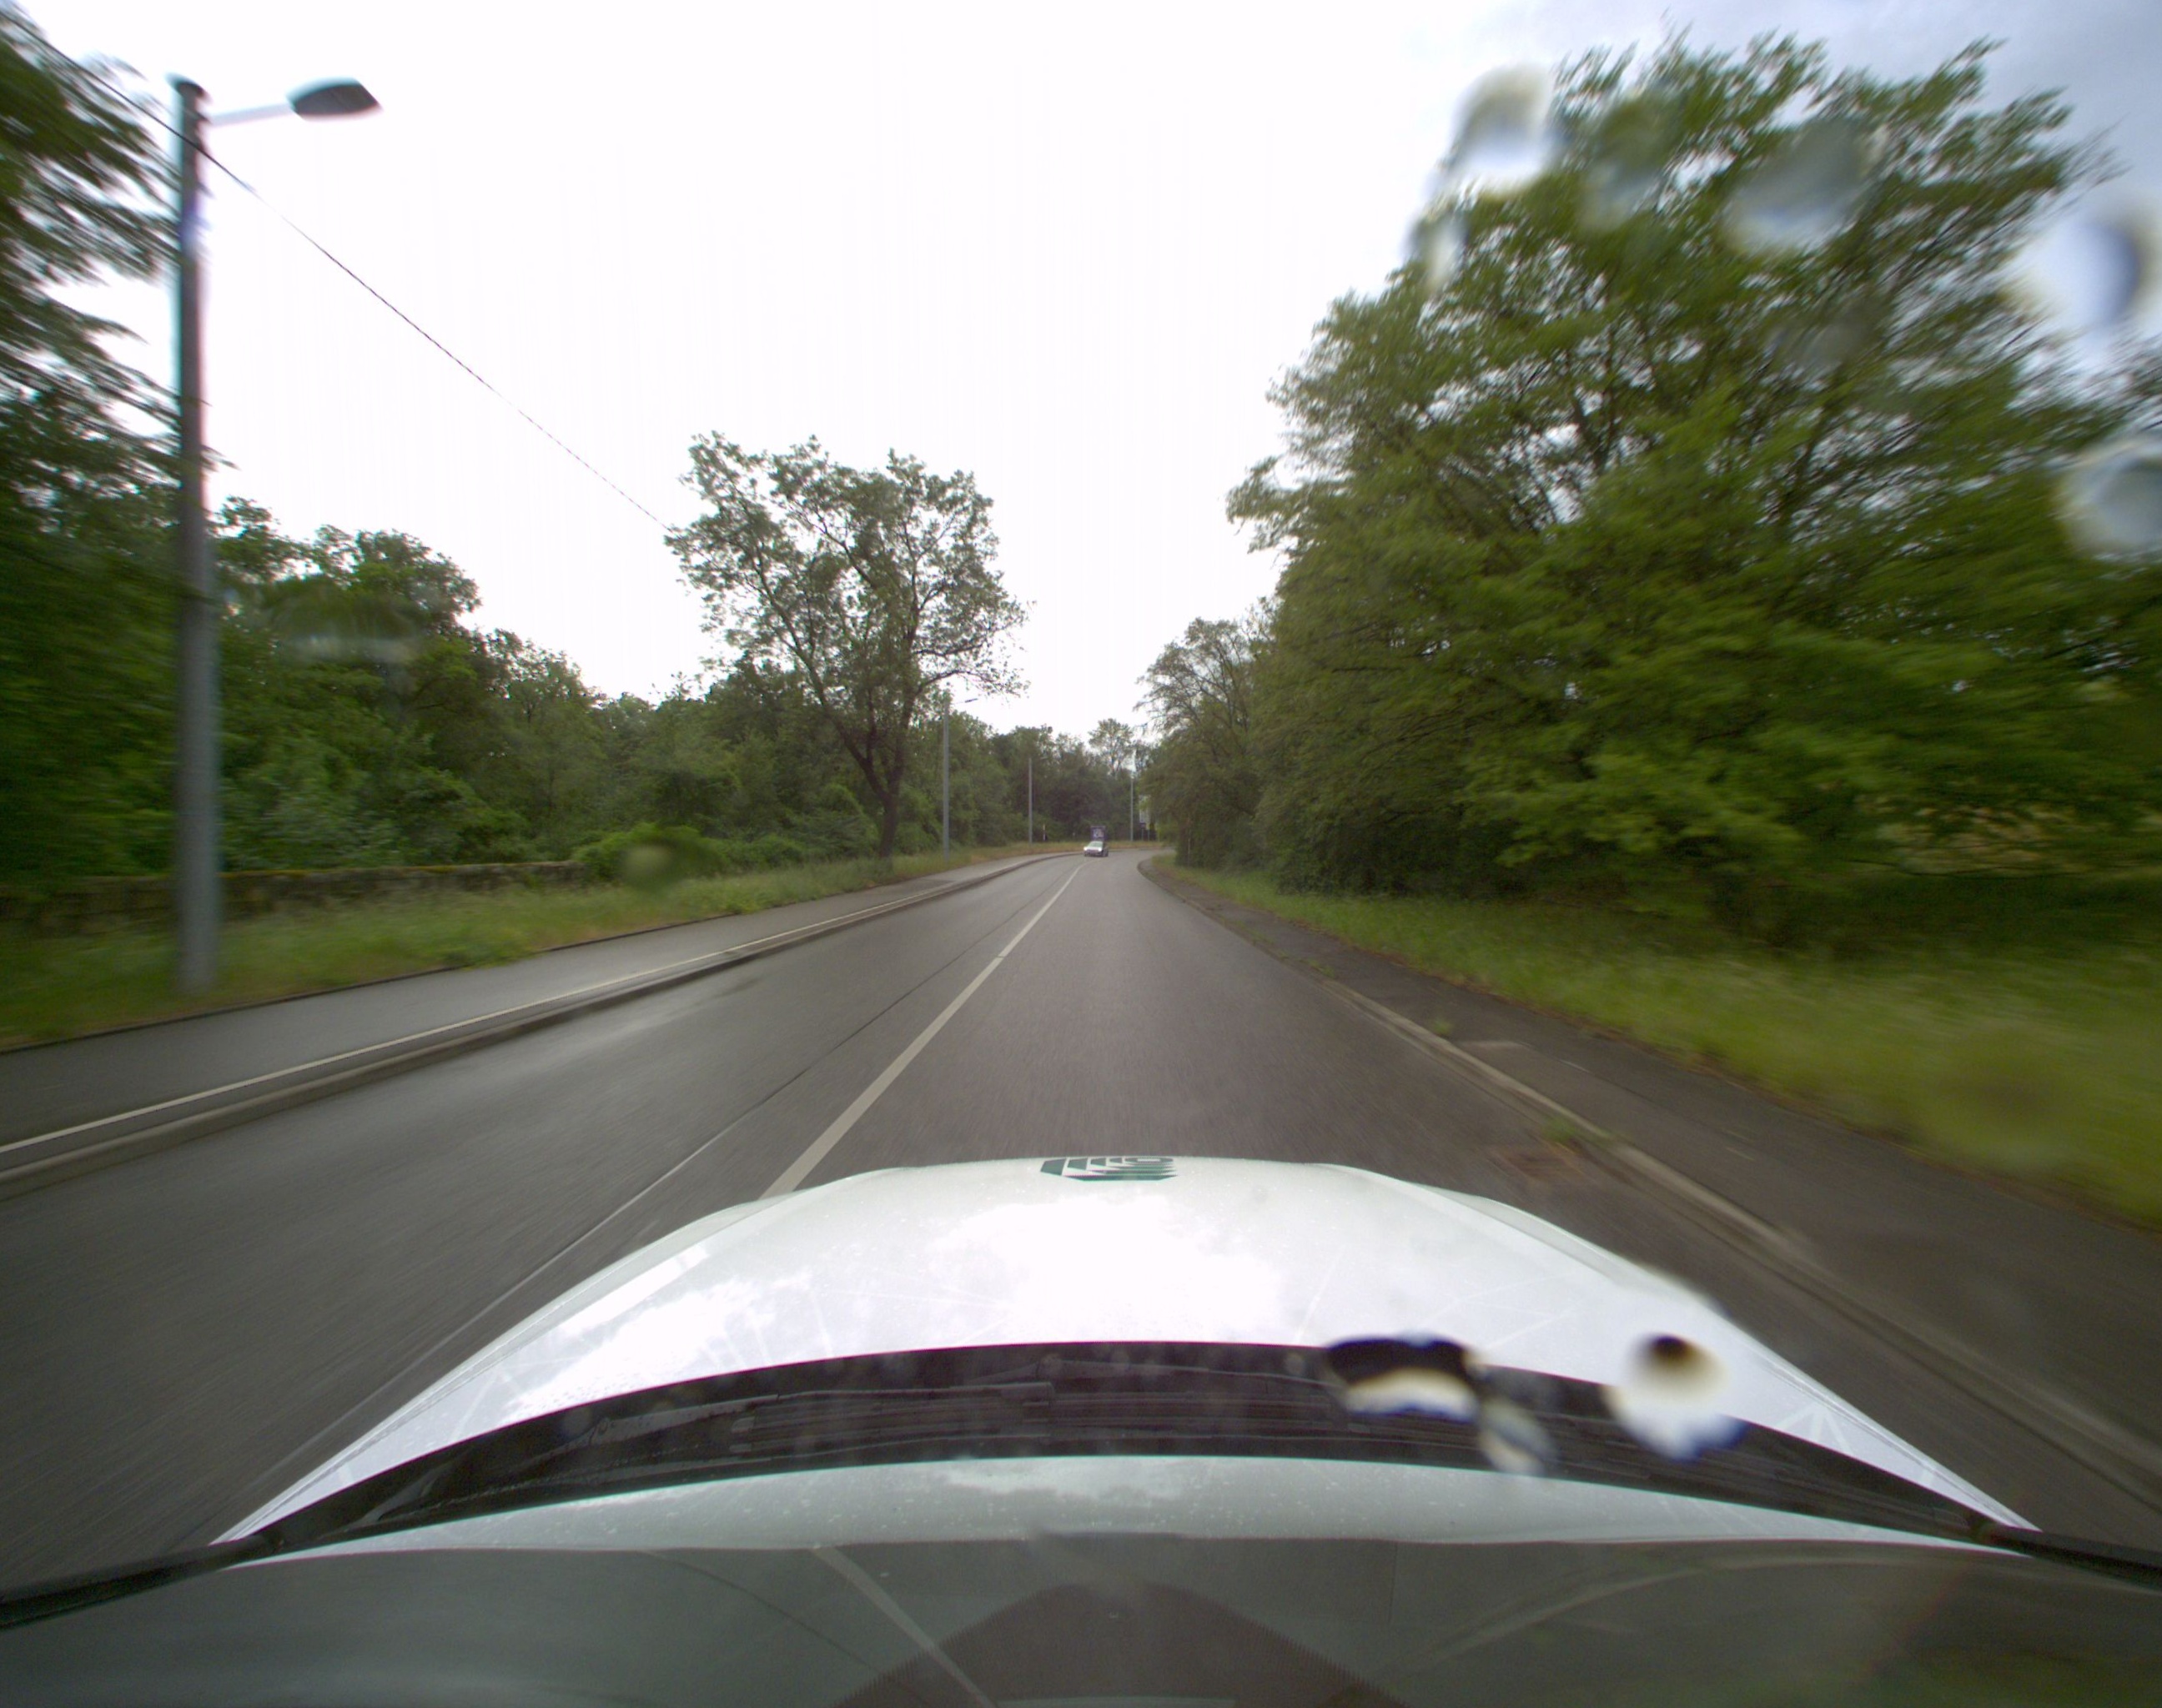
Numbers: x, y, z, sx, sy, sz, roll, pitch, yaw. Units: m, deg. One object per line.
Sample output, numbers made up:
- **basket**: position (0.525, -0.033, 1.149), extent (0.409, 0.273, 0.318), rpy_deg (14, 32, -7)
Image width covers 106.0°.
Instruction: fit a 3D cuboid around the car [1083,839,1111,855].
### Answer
- **car**: position (1.584, -0.693, 80.304), extent (1.768, 1.430, 4.491), rpy_deg (3, 2, 13)
